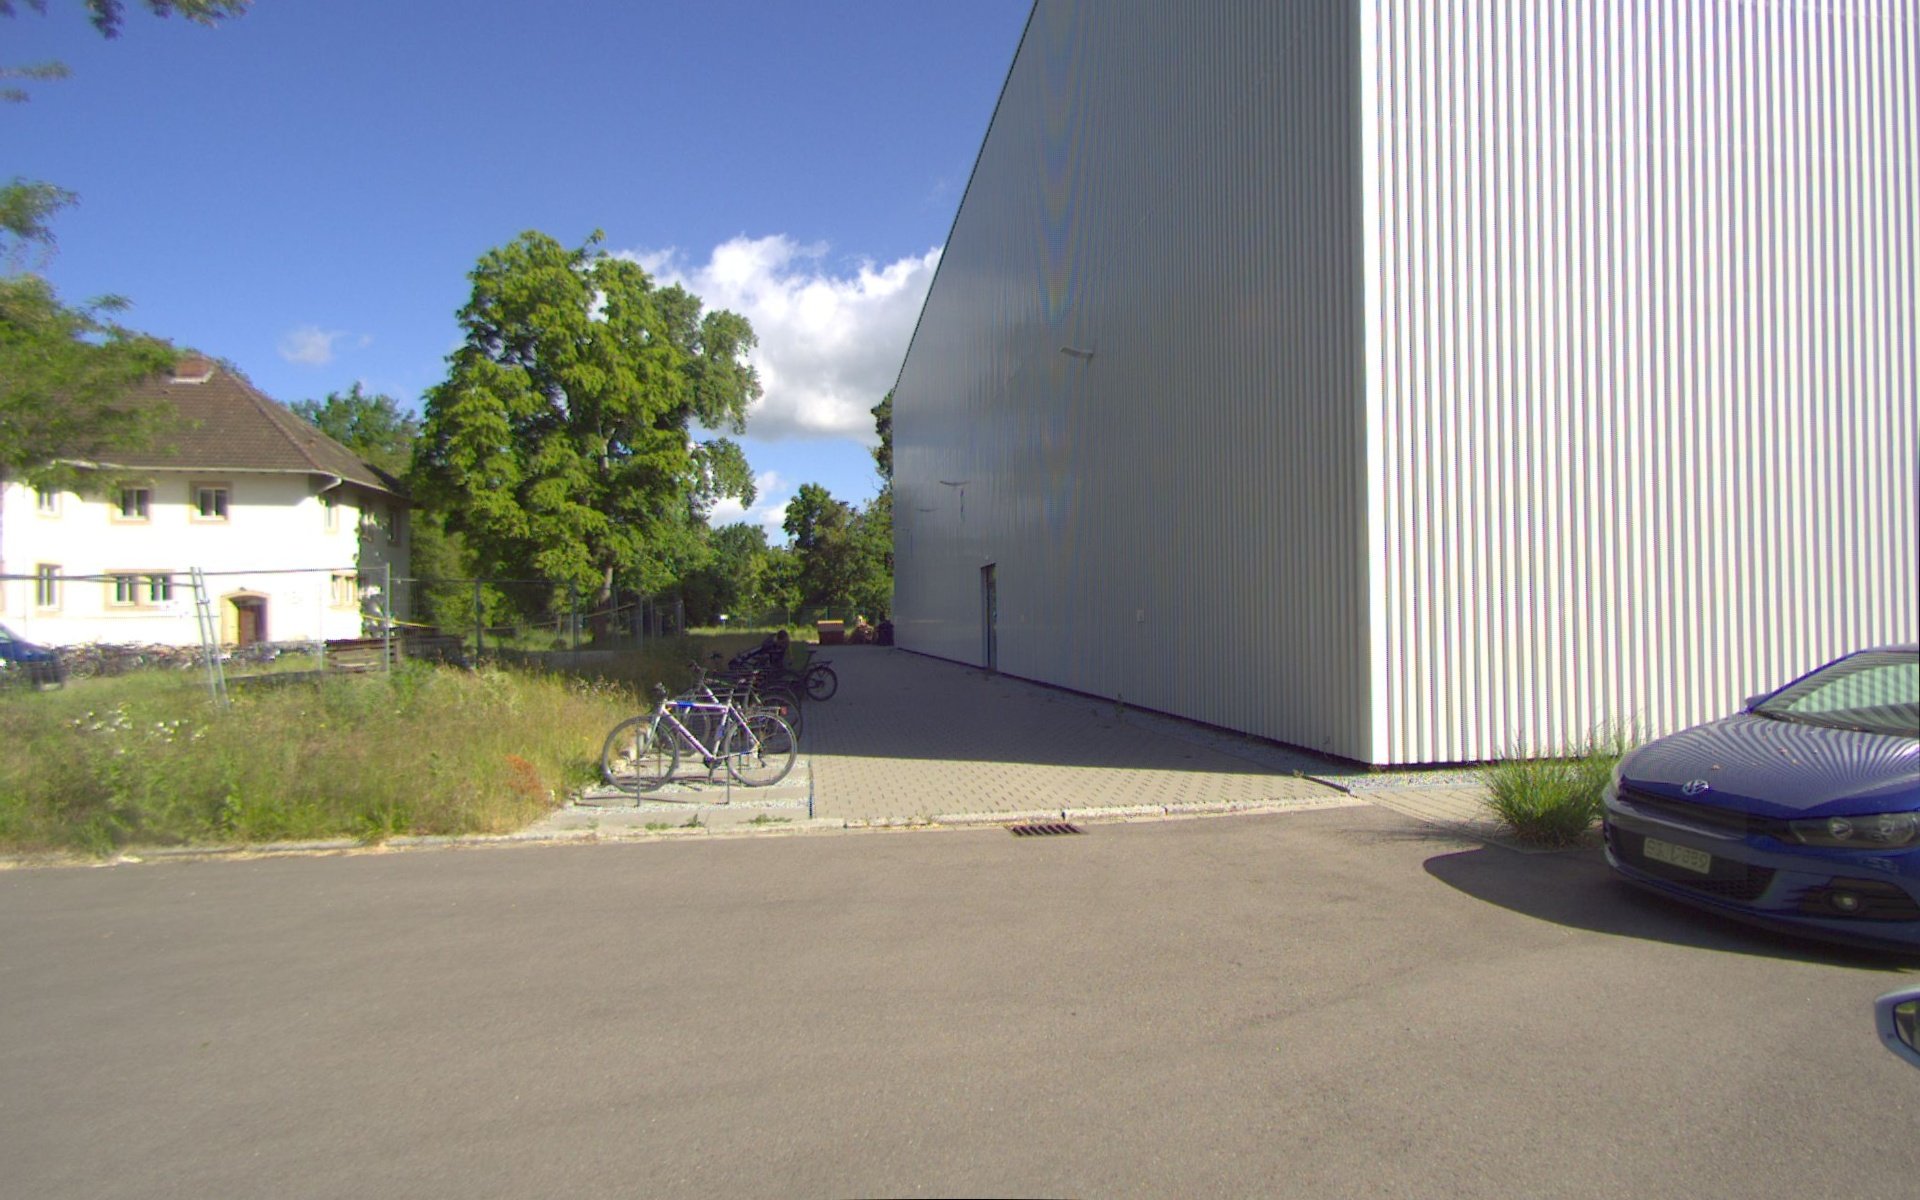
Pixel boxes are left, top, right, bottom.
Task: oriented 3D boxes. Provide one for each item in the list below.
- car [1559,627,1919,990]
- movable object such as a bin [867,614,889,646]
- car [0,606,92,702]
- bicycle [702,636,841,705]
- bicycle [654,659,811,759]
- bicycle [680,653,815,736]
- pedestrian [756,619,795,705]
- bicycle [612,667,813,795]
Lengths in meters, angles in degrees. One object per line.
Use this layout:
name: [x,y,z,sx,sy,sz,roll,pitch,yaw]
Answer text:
car: [5.422,0.854,5.176,3.882,1.368,1.671,-1,0,-10]
movable object such as a bin: [-5.397,1.961,66.180,1.396,2.040,1.124,-1,-1,-5]
car: [-21.219,1.142,20.650,4.644,1.927,1.995,0,-2,-13]
bicycle: [-3.717,1.389,20.047,2.588,1.283,1.140,-1,-1,-5]
bicycle: [-2.679,1.278,11.933,1.764,1.097,0.524,-1,-1,-7]
bicycle: [-3.040,1.348,14.456,1.860,1.109,0.525,-1,-2,-10]
pedestrian: [-3.846,1.275,20.954,0.502,1.751,0.635,-1,-1,25]
bicycle: [-2.294,1.199,9.405,1.774,1.076,0.458,0,-1,-14]
